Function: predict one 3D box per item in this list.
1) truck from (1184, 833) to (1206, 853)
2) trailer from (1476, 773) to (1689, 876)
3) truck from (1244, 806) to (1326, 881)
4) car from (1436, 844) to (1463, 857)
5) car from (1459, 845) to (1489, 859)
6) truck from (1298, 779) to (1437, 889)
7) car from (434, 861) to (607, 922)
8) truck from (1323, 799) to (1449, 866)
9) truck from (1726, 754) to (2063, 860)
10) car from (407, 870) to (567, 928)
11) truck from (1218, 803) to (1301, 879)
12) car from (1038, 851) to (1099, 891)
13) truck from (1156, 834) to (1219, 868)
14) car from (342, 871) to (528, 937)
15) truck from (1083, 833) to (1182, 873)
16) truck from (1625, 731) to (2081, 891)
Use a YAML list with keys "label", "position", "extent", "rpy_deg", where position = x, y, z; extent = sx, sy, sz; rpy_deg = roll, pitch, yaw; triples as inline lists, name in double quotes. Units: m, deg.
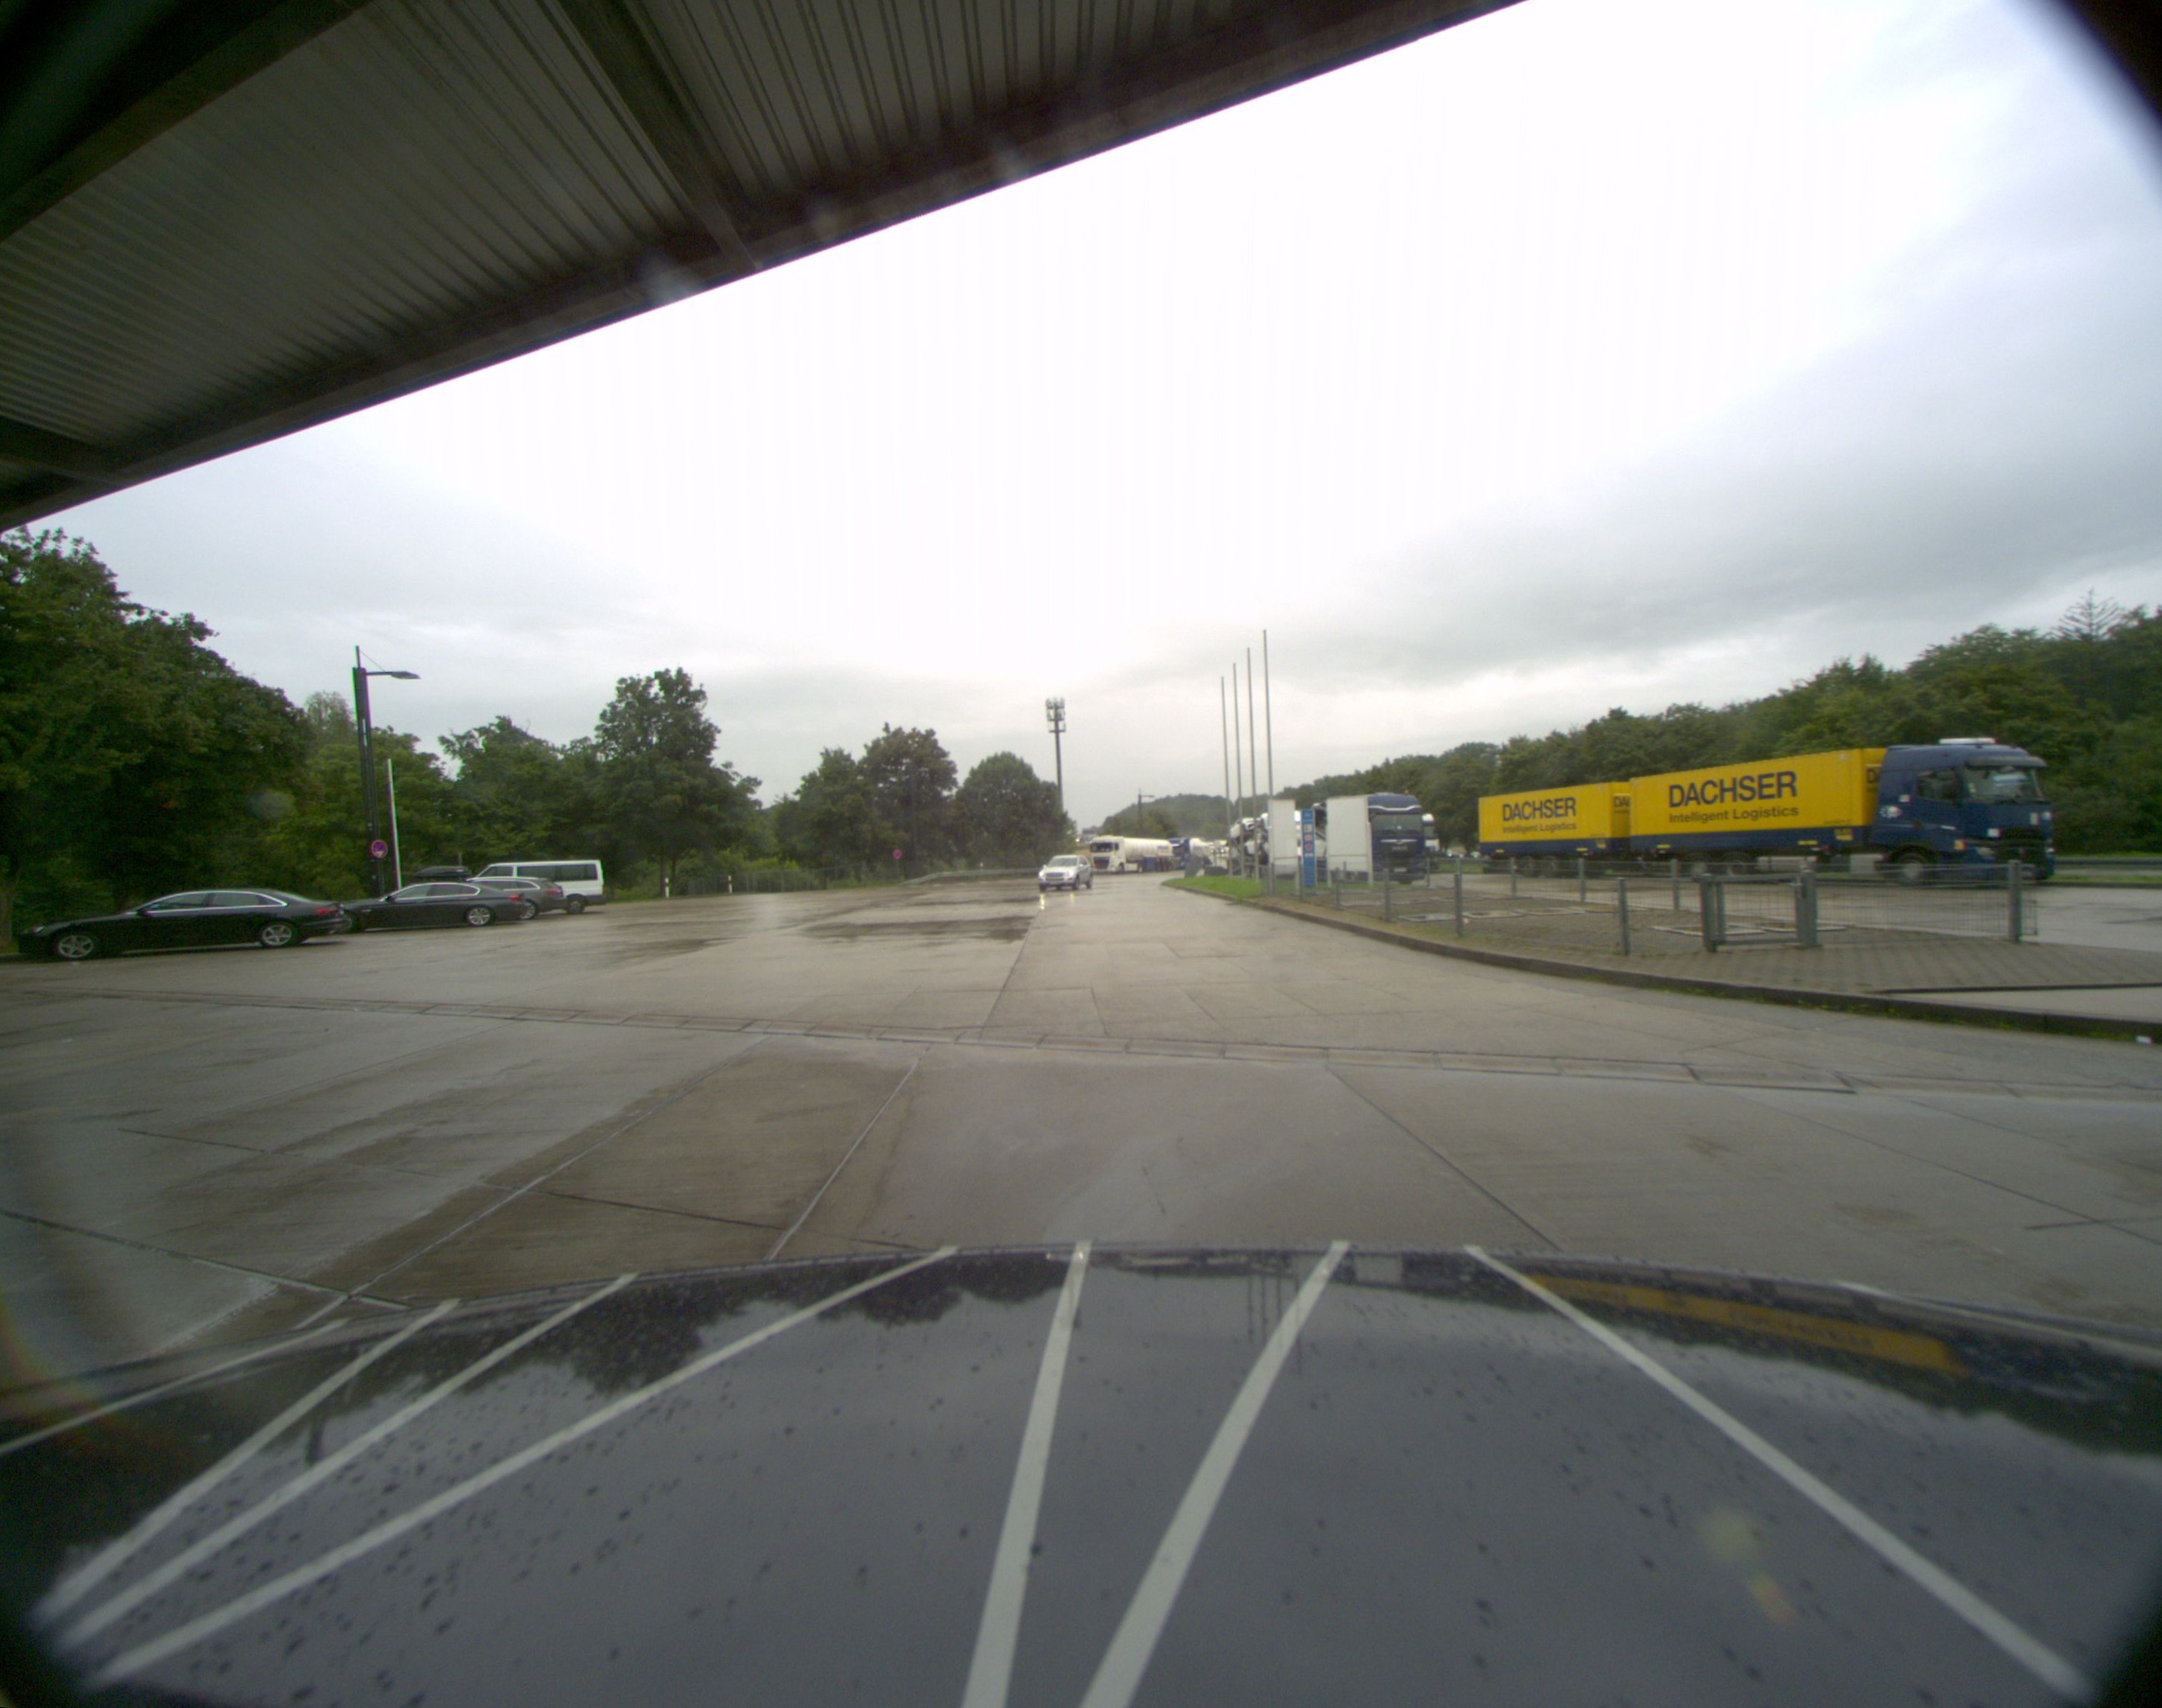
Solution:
- label: "truck"
  position: [30.626, -2.962, 205.286]
  extent: [3.145, 5.092, 11.515]
  rpy_deg: [-2, 1, -5]
- label: "trailer"
  position: [21.796, -1.181, 33.907]
  extent: [2.757, 3.894, 8.700]
  rpy_deg: [-2, 1, -9]
- label: "truck"
  position: [11.052, -0.555, 41.548]
  extent: [2.665, 3.750, 4.747]
  rpy_deg: [-2, 1, -6]
- label: "car"
  position: [54.582, -0.489, 112.537]
  extent: [1.889, 1.813, 3.999]
  rpy_deg: [-2, 1, -2]
- label: "car"
  position: [52.211, -0.268, 101.000]
  extent: [1.889, 1.813, 3.999]
  rpy_deg: [-2, 1, 1]
- label: "truck"
  position: [12.188, -0.794, 33.141]
  extent: [2.665, 4.157, 7.103]
  rpy_deg: [-2, 0, -6]
- label: "car"
  position: [-20.423, 1.288, 27.959]
  extent: [4.898, 1.938, 2.310]
  rpy_deg: [-2, 0, -35]
- label: "truck"
  position: [19.889, -1.295, 50.528]
  extent: [2.757, 3.894, 10.678]
  rpy_deg: [-2, 1, -8]
- label: "truck"
  position: [33.915, -1.756, 32.672]
  extent: [2.421, 3.785, 10.223]
  rpy_deg: [-2, 1, -10]
- label: "car"
  position: [-19.468, 1.427, 25.122]
  extent: [4.007, 1.650, 1.596]
  rpy_deg: [-2, 0, -35]
- label: "truck"
  position: [10.576, -0.724, 45.739]
  extent: [2.665, 4.157, 6.618]
  rpy_deg: [-2, 1, -6]
- label: "car"
  position: [-0.557, 0.820, 38.460]
  extent: [1.864, 1.788, 4.544]
  rpy_deg: [-2, 0, 14]
- label: "truck"
  position: [12.791, -0.399, 89.650]
  extent: [3.506, 3.584, 14.686]
  rpy_deg: [-2, 0, 23]
- label: "car"
  position: [-18.872, 1.394, 22.470]
  extent: [4.007, 1.650, 1.596]
  rpy_deg: [-2, 0, -35]
- label: "truck"
  position: [5.462, -0.157, 75.170]
  extent: [3.505, 3.584, 14.426]
  rpy_deg: [-2, 0, 31]
- label: "truck"
  position: [23.157, -1.124, 24.286]
  extent: [2.757, 3.894, 10.678]
  rpy_deg: [-2, 1, -8]
